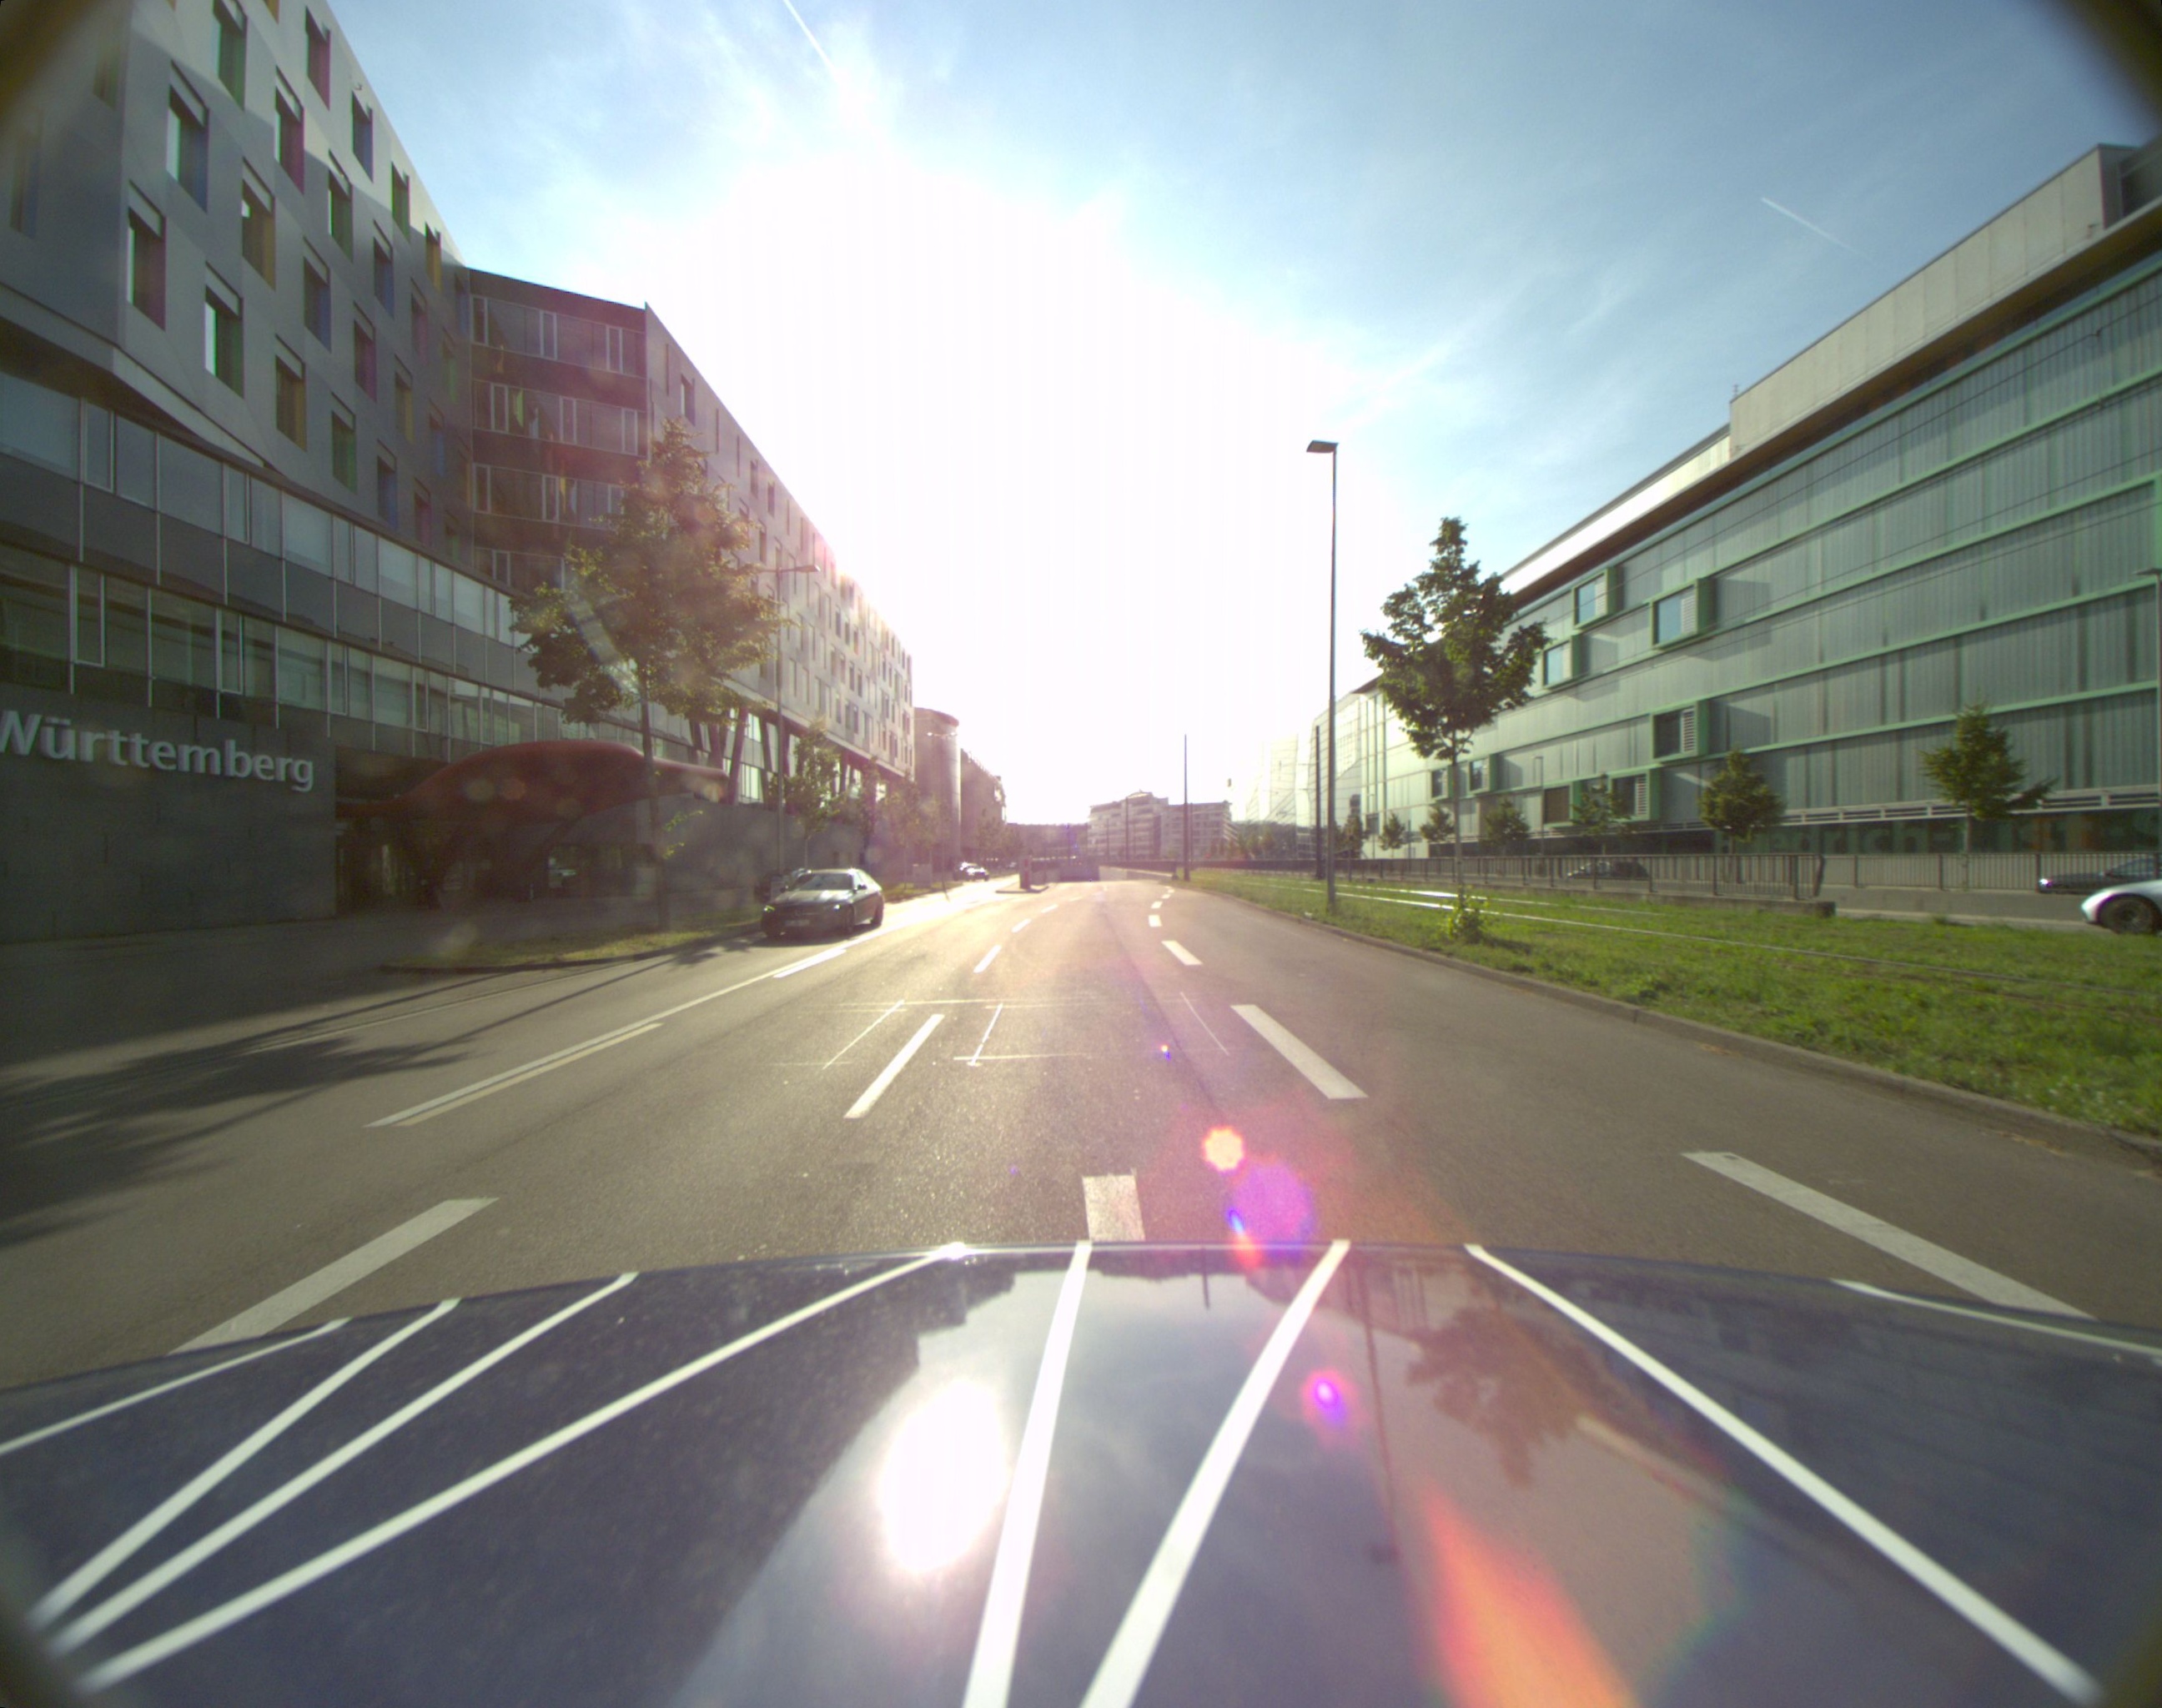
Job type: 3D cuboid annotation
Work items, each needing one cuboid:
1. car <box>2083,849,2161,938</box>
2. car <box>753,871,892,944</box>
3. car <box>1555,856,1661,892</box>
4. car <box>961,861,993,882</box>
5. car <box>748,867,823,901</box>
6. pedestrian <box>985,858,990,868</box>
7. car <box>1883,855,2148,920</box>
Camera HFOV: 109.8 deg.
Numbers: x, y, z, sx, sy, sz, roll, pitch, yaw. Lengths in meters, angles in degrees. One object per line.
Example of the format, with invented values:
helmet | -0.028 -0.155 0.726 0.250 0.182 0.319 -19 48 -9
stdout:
car | 19.562 0.643 11.570 1.999 1.519 4.911 -1 -1 -4
car | -5.952 1.164 18.111 1.844 1.441 4.555 -2 -1 -2
car | 26.288 0.972 38.156 1.999 1.677 4.726 -1 -1 -1
car | -8.723 1.415 63.415 1.897 1.419 4.464 -1 3 -17
car | -12.705 1.261 32.927 1.696 1.381 4.198 -1 -1 -2
pedestrian | -16.634 1.665 134.763 0.725 1.776 0.771 0 0 -1
car | 26.753 0.902 22.081 1.999 1.677 4.616 -1 -1 -1
